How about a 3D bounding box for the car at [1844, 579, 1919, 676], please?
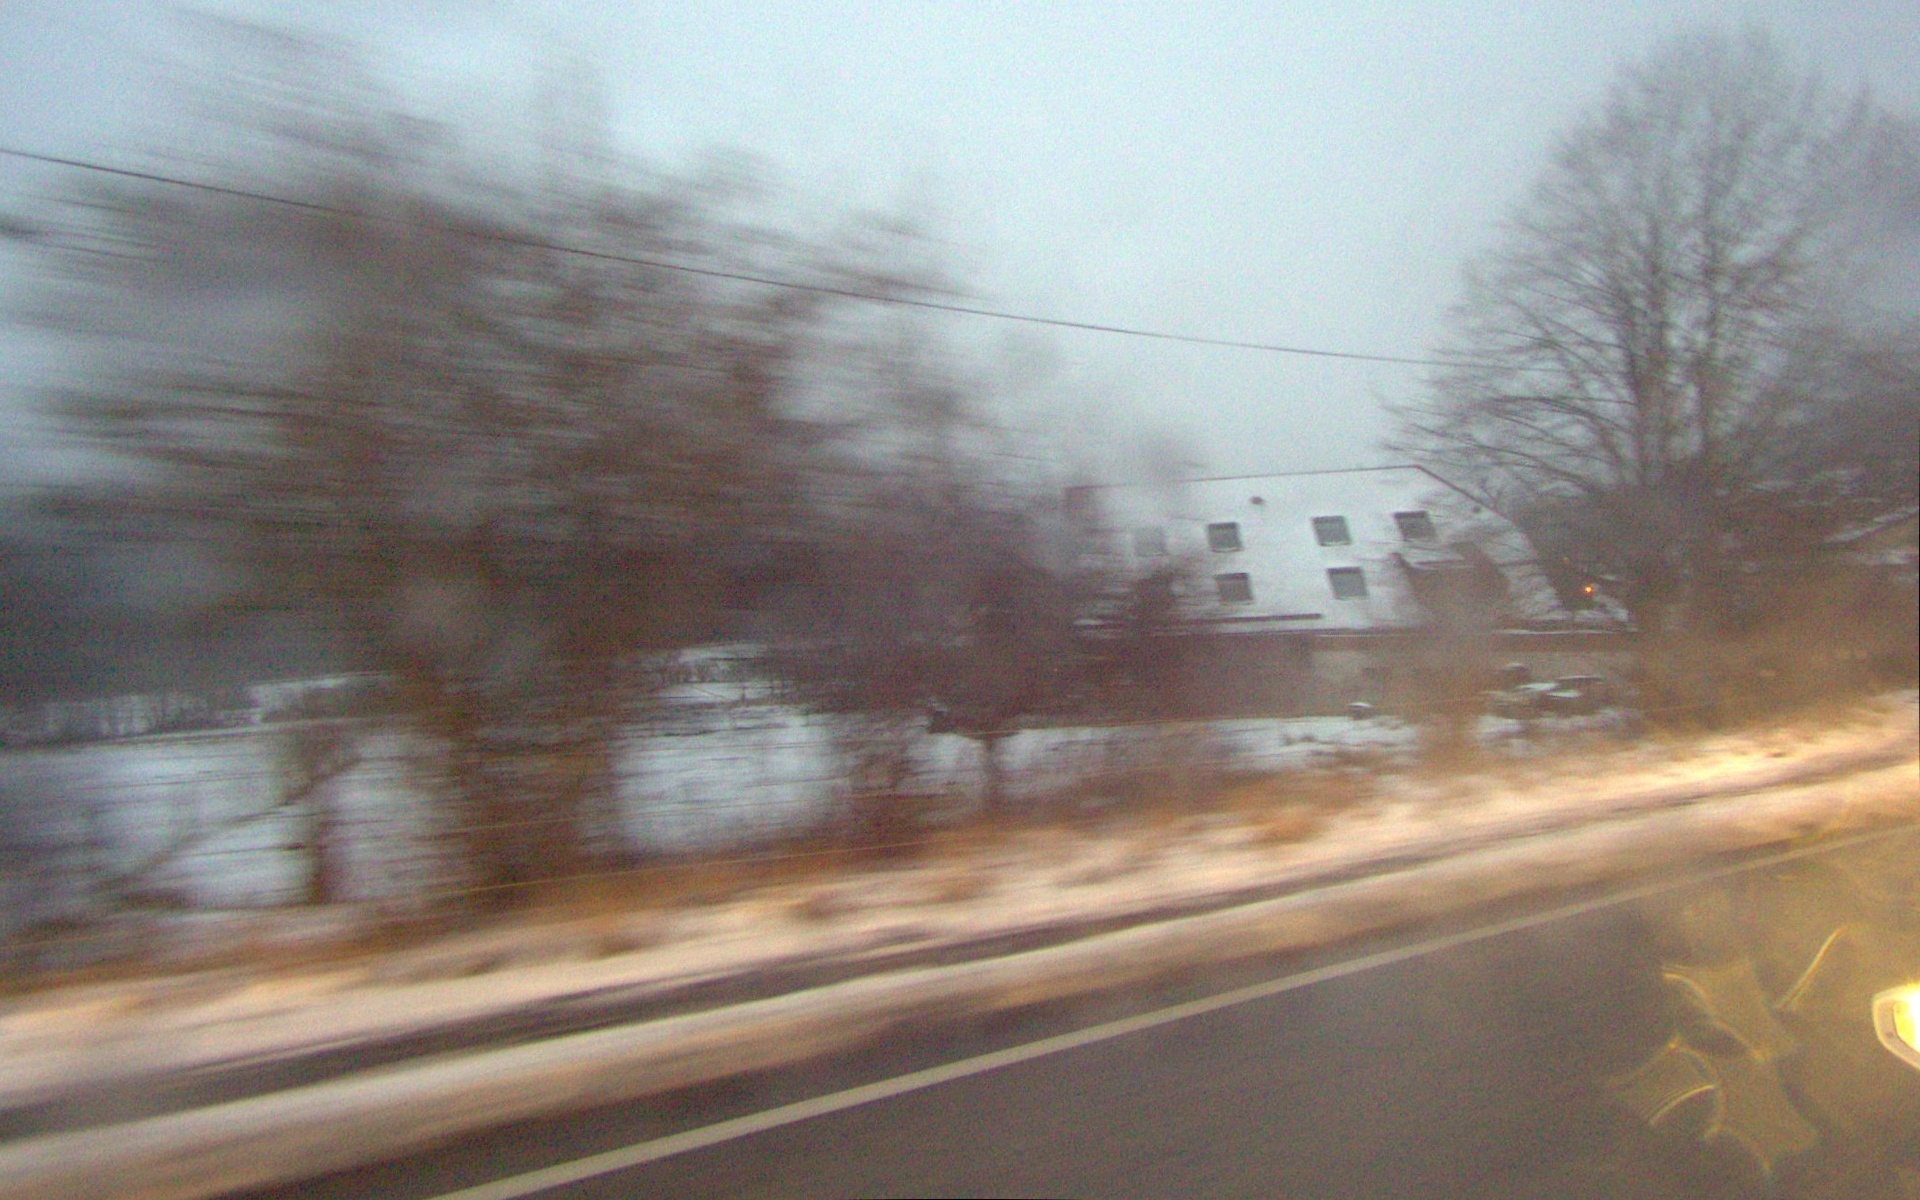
[{"bbox_3d":[28.380,0.813,29.097,6.157,2.605,2.457,1,-1,-31],"label":"car"}]
